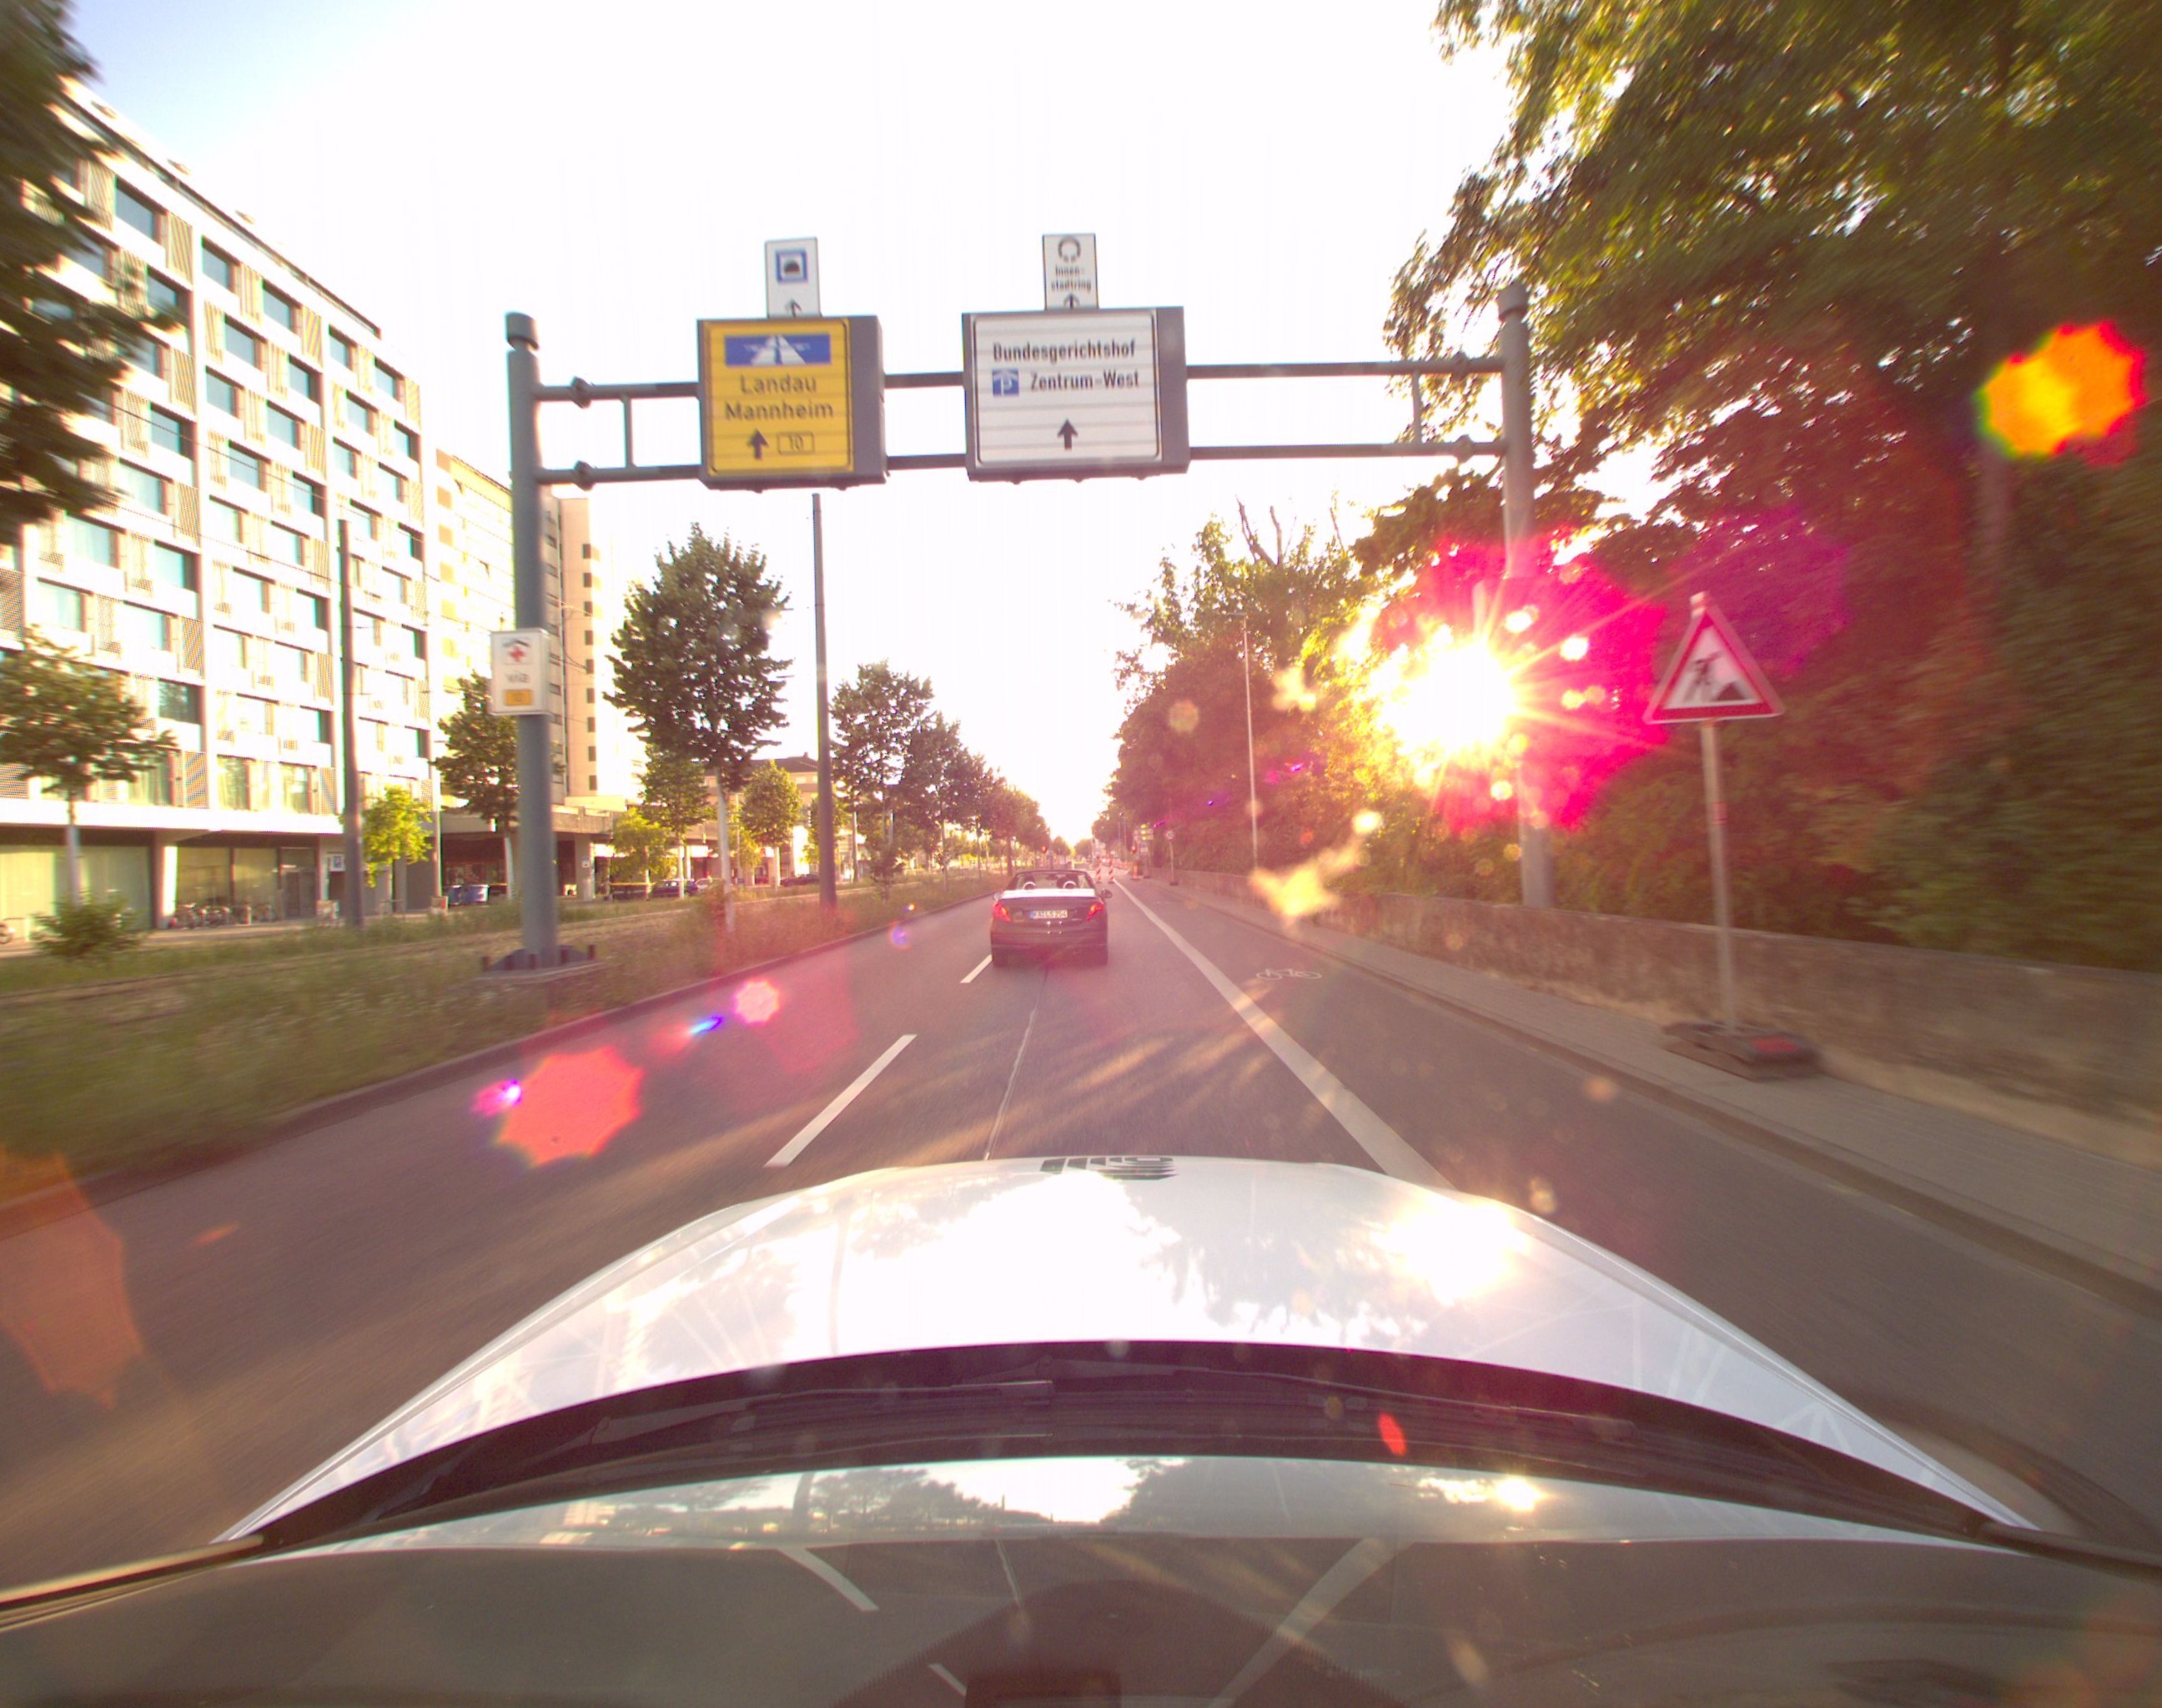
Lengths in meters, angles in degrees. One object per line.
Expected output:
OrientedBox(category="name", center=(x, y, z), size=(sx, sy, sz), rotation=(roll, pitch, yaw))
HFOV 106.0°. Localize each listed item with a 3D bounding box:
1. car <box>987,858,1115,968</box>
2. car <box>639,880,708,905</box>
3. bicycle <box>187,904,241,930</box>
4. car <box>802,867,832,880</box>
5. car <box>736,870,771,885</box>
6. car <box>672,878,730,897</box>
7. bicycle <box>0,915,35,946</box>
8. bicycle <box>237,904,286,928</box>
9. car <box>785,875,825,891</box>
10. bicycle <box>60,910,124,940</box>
OrientedBox(category="car", center=(-0.541, 0.819, 13.027), size=(1.715, 1.449, 3.895), rotation=(-1, -1, -4))
OrientedBox(category="car", center=(-30.447, 2.848, 60.908), size=(4.307, 1.590, 1.986), rotation=(-2, -1, -40))
OrientedBox(category="bicycle", center=(-37.301, 2.715, 35.044), size=(1.783, 1.020, 0.421), rotation=(-2, -1, -4))
OrientedBox(category="car", center=(-40.592, 3.008, 125.287), size=(3.922, 1.845, 2.191), rotation=(-2, -1, -1))
OrientedBox(category="car", center=(-49.645, 3.578, 123.513), size=(4.319, 1.769, 2.164), rotation=(-5, 1, -3))
OrientedBox(category="car", center=(-31.155, 2.754, 66.823), size=(4.144, 1.436, 1.807), rotation=(0, -1, -31))
OrientedBox(category="bicycle", center=(-37.615, 2.697, 28.335), size=(1.738, 1.020, 0.421), rotation=(-2, -1, -4))
OrientedBox(category="bicycle", center=(-38.511, 2.896, 38.280), size=(1.783, 1.020, 0.421), rotation=(-2, -1, -4))
OrientedBox(category="car", center=(-30.061, 3.167, 88.705), size=(3.749, 1.450, 1.724), rotation=(-3, -2, -39))
OrientedBox(category="bicycle", center=(-37.699, 2.692, 31.052), size=(1.783, 1.020, 0.421), rotation=(-2, -1, -4))
